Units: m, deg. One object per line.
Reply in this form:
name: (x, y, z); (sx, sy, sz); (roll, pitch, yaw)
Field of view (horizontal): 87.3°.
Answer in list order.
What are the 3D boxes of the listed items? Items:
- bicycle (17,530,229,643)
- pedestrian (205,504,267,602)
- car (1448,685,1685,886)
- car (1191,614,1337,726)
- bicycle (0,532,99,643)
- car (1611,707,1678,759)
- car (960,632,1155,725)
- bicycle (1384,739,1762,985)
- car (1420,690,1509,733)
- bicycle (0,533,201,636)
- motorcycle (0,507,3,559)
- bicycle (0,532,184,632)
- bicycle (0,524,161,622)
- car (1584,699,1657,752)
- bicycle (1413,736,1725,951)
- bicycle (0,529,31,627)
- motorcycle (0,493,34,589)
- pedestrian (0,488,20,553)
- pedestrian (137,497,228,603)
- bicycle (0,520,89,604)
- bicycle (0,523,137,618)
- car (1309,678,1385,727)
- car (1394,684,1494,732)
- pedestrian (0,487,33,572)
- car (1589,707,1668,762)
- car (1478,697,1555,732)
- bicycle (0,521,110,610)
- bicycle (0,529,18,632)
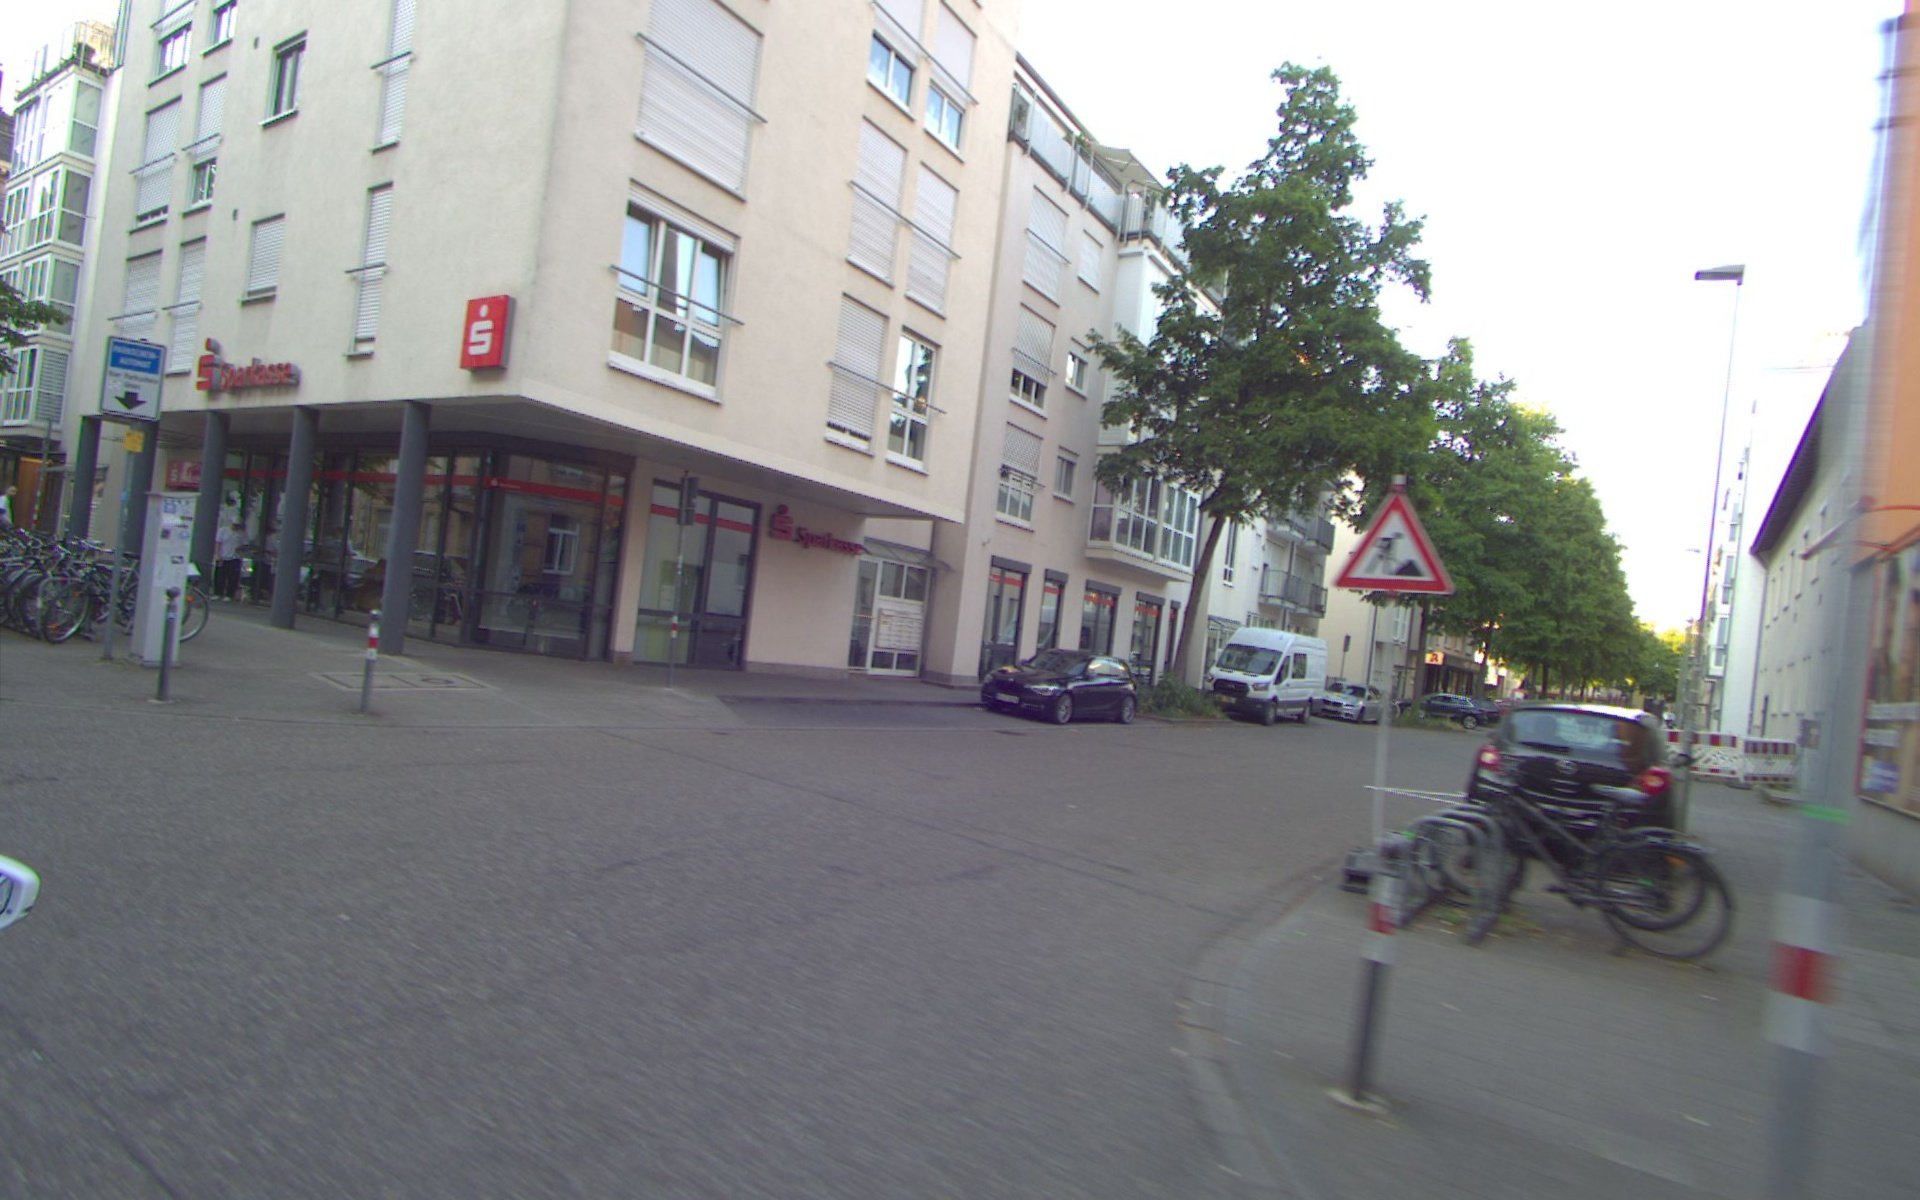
bicycle: (-9.412, -0.113, 11.401); (0.568, 1.146, 1.727); (6, 0, 22)
pedestrian: (-13.697, -0.892, 19.043); (0.656, 1.745, 0.659); (7, 1, -22)
car: (6.330, 1.759, 10.365); (1.679, 1.493, 3.670); (5, -2, 35)
car: (9.286, 2.219, 30.182); (2.042, 2.765, 6.771); (9, -1, 34)
bicycle: (-10.390, -0.169, 10.693); (0.696, 1.132, 1.721); (6, 0, 37)
car: (27.549, 5.353, 40.456); (1.819, 1.756, 3.734); (5, -3, 39)
car: (2.081, 1.631, 20.401); (1.765, 1.451, 4.231); (10, 1, 39)
bicycle: (3.844, 1.571, 6.430); (1.935, 1.080, 0.562); (4, -1, 39)
car: (26.550, 5.842, 52.973); (3.934, 1.703, 1.944); (5, -3, 32)
bicycle: (-10.226, -0.155, 12.001); (0.644, 1.067, 1.721); (6, 0, 37)
motorcycle: (-19.137, -1.164, 18.509); (0.705, 1.387, 2.059); (7, 1, 30)
bicycle: (-10.749, -0.203, 12.404); (0.644, 1.067, 1.721); (6, 0, 37)
bicycle: (-11.624, -0.336, 13.132); (0.644, 1.132, 1.721); (6, 0, 37)
car: (24.208, 4.584, 36.810); (1.848, 1.613, 3.742); (5, -3, 38)
bicycle: (4.187, 1.609, 6.997); (1.732, 1.080, 0.562); (4, -1, 39)
bicycle: (-11.862, -0.317, 11.387); (0.695, 1.132, 1.810); (6, 0, 32)
motorcycle: (-16.918, -1.075, 16.425); (0.811, 1.569, 2.490); (6, 1, 37)
pedestrian: (-26.431, -2.207, 27.557); (0.948, 1.738, 0.727); (6, 1, 34)
pedestrian: (-13.759, -0.875, 17.829); (0.898, 1.746, 0.774); (6, 2, -10)
bicycle: (-13.633, -0.570, 14.308); (0.643, 1.132, 1.724); (6, 0, 31)
bicycle: (-12.142, -0.398, 13.360); (0.644, 1.132, 1.721); (6, 0, 37)
car: (14.592, 3.883, 37.803); (1.740, 1.558, 4.092); (5, -3, 34)
car: (22.891, 5.097, 47.727); (3.926, 1.703, 1.948); (6, -2, 20)
pedestrian: (-20.937, -1.559, 21.997); (0.577, 1.773, 0.628); (6, -2, 23)
car: (21.388, 4.283, 32.116); (1.783, 1.436, 4.121); (5, -3, 37)
car: (36.397, 7.490, 65.922); (3.924, 1.703, 1.949); (6, -2, 15)
bicycle: (-13.022, -0.495, 13.952); (0.643, 1.132, 1.724); (6, 0, 31)
bicycle: (-11.364, -0.278, 10.751); (0.695, 1.132, 1.723); (6, 0, 32)
